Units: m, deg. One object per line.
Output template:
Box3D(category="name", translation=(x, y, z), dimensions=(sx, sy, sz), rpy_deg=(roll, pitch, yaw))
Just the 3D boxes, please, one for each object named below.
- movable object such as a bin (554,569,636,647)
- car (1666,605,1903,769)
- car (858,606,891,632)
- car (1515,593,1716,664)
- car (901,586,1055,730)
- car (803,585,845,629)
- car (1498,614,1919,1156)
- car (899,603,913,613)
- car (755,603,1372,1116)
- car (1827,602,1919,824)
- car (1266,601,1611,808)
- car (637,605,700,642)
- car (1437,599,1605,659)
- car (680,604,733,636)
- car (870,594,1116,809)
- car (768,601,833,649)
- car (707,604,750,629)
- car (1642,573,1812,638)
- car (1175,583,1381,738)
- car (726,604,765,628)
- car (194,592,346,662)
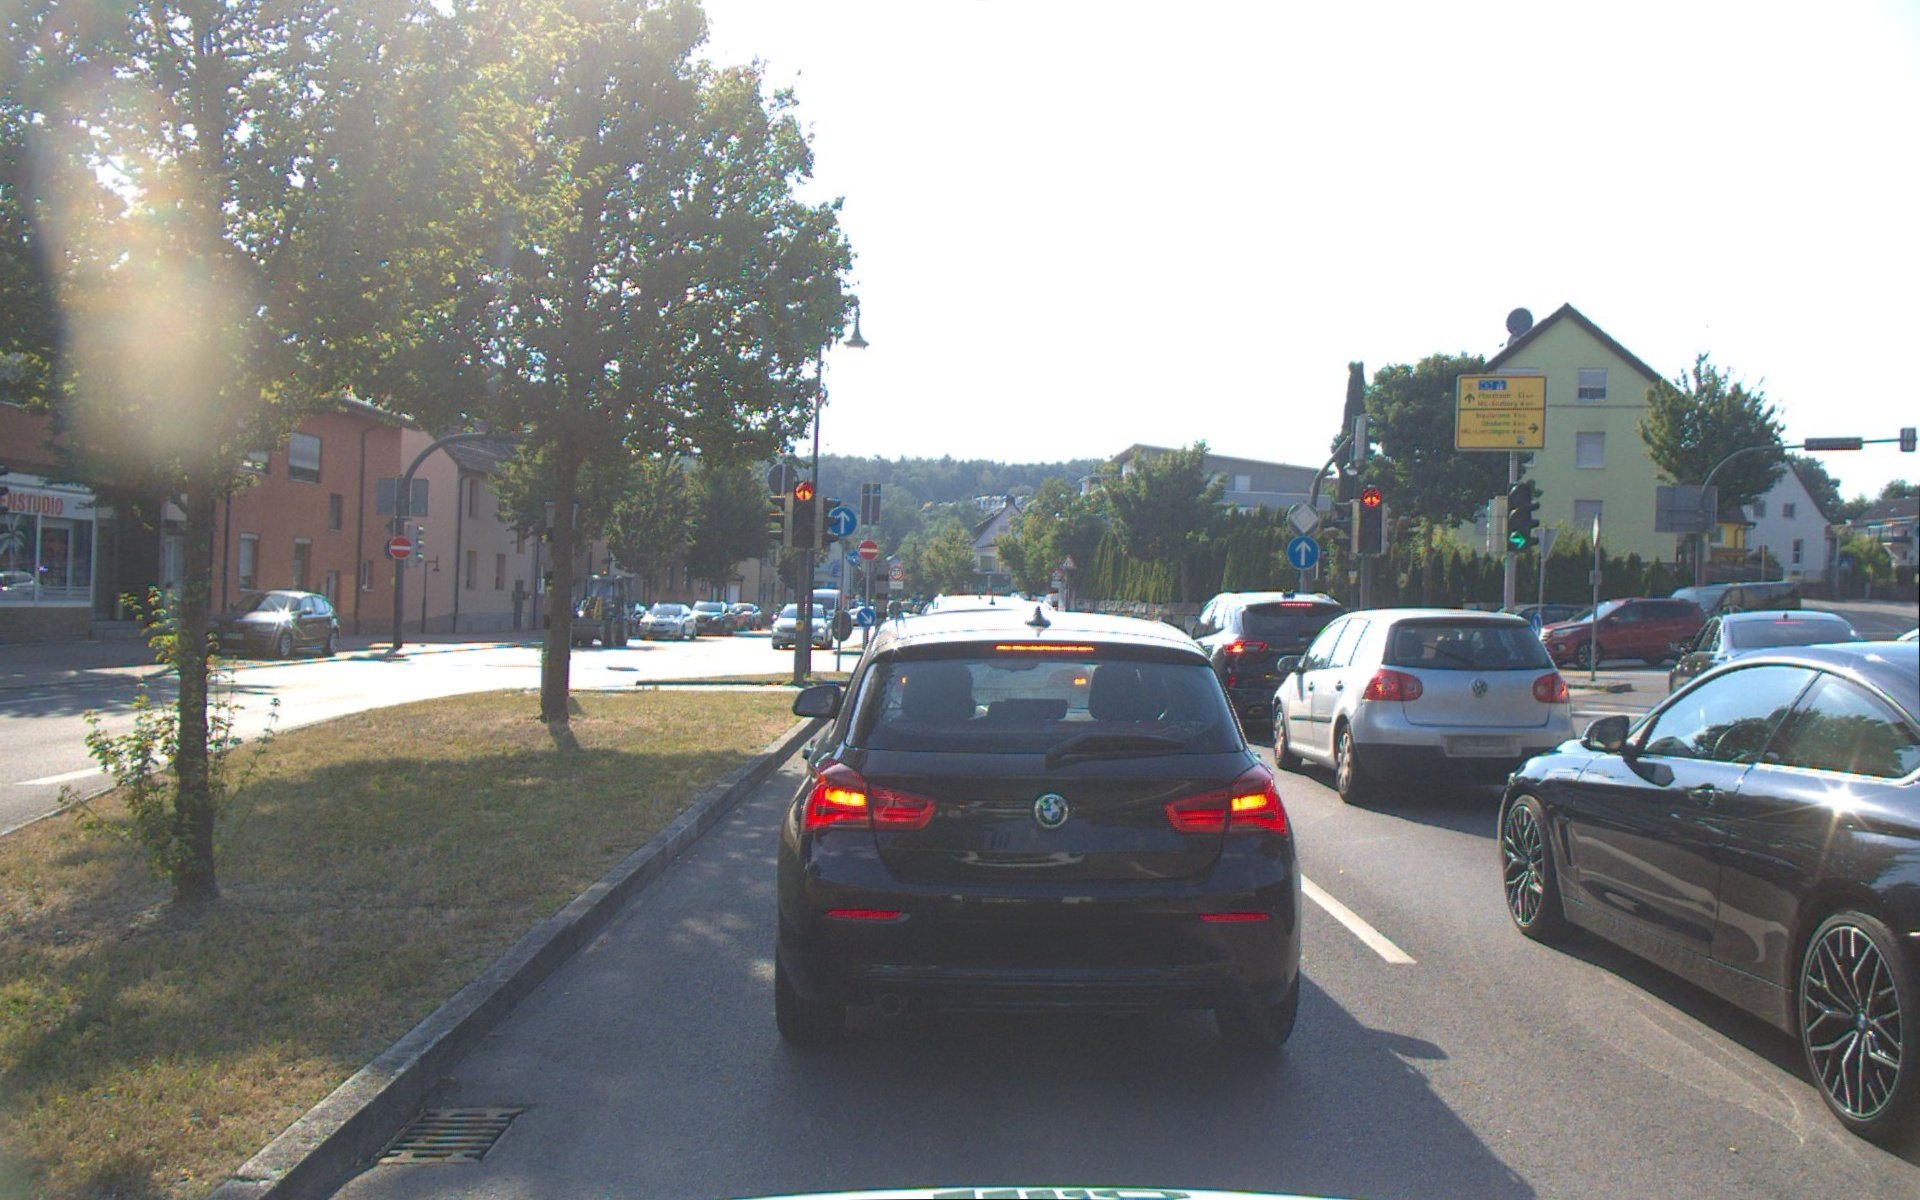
Box3D(category="movable object such as a bin", translation=(-12.068, 0.259, 54.920), dimensions=(1.701, 2.485, 4.449), rpy_deg=(0, 0, 0))
Box3D(category="car", translation=(9.042, 0.860, 18.479), dimensions=(1.621, 1.569, 4.401), rpy_deg=(-1, 0, 17))
Box3D(category="car", translation=(-5.240, 1.162, 101.719), dimensions=(1.801, 1.508, 4.000), rpy_deg=(1, 0, 0))
Box3D(category="car", translation=(16.320, 0.699, 41.275), dimensions=(4.333, 1.670, 1.845), rpy_deg=(1, 0, -8))
Box3D(category="car", translation=(0.203, 0.653, 21.043), dimensions=(1.751, 1.622, 4.280), rpy_deg=(-1, 0, 0))
Box3D(category="car", translation=(-7.899, 0.415, 96.511), dimensions=(2.042, 2.435, 5.527), rpy_deg=(1, 0, -1))
Box3D(category="car", translation=(3.467, 0.791, 5.838), dimensions=(1.725, 1.422, 4.280), rpy_deg=(-1, 0, 0))
Box3D(category="car", translation=(-7.960, 1.191, 243.289), dimensions=(1.701, 1.323, 3.800), rpy_deg=(5, 0, 2))
Box3D(category="car", translation=(0.292, 0.741, 6.858), dimensions=(1.751, 1.422, 4.280), rpy_deg=(-1, 0, 0))
Box3D(category="car", translation=(7.618, 0.806, 11.646), dimensions=(1.583, 1.569, 3.320), rpy_deg=(-1, 0, 6))
Box3D(category="car", translation=(3.789, 0.746, 13.794), dimensions=(1.725, 1.451, 3.902), rpy_deg=(-1, 0, 0))
Box3D(category="car", translation=(-11.884, 0.949, 67.648), dimensions=(1.701, 1.323, 3.800), rpy_deg=(5, 0, 2))
Box3D(category="car", translation=(15.164, 0.771, 44.854), dimensions=(3.907, 1.515, 1.847), rpy_deg=(1, 0, -3))
Box3D(category="car", translation=(-12.067, 0.950, 79.042), dimensions=(1.701, 1.323, 3.800), rpy_deg=(5, 0, 2))
Box3D(category="car", translation=(0.233, 0.721, 14.003), dimensions=(1.751, 1.520, 4.280), rpy_deg=(-1, 0, 0))
Box3D(category="car", translation=(-5.312, 0.807, 55.426), dimensions=(1.801, 1.508, 4.000), rpy_deg=(1, 0, 0))
Box3D(category="car", translation=(-13.546, 0.950, 96.950), dimensions=(1.701, 1.323, 3.800), rpy_deg=(5, 0, 2))
Box3D(category="car", translation=(22.100, 0.167, 47.627), dimensions=(4.707, 1.770, 1.834), rpy_deg=(1, 0, -25))
Box3D(category="car", translation=(3.742, 0.654, 20.077), dimensions=(1.725, 1.685, 3.902), rpy_deg=(-1, 0, 0))
Box3D(category="car", translation=(-13.312, 0.974, 102.652), dimensions=(1.701, 1.323, 3.800), rpy_deg=(5, 0, 2))
Box3D(category="car", translation=(-15.476, 0.575, 37.311), dimensions=(1.702, 1.323, 3.999), rpy_deg=(5, 0, -1))
